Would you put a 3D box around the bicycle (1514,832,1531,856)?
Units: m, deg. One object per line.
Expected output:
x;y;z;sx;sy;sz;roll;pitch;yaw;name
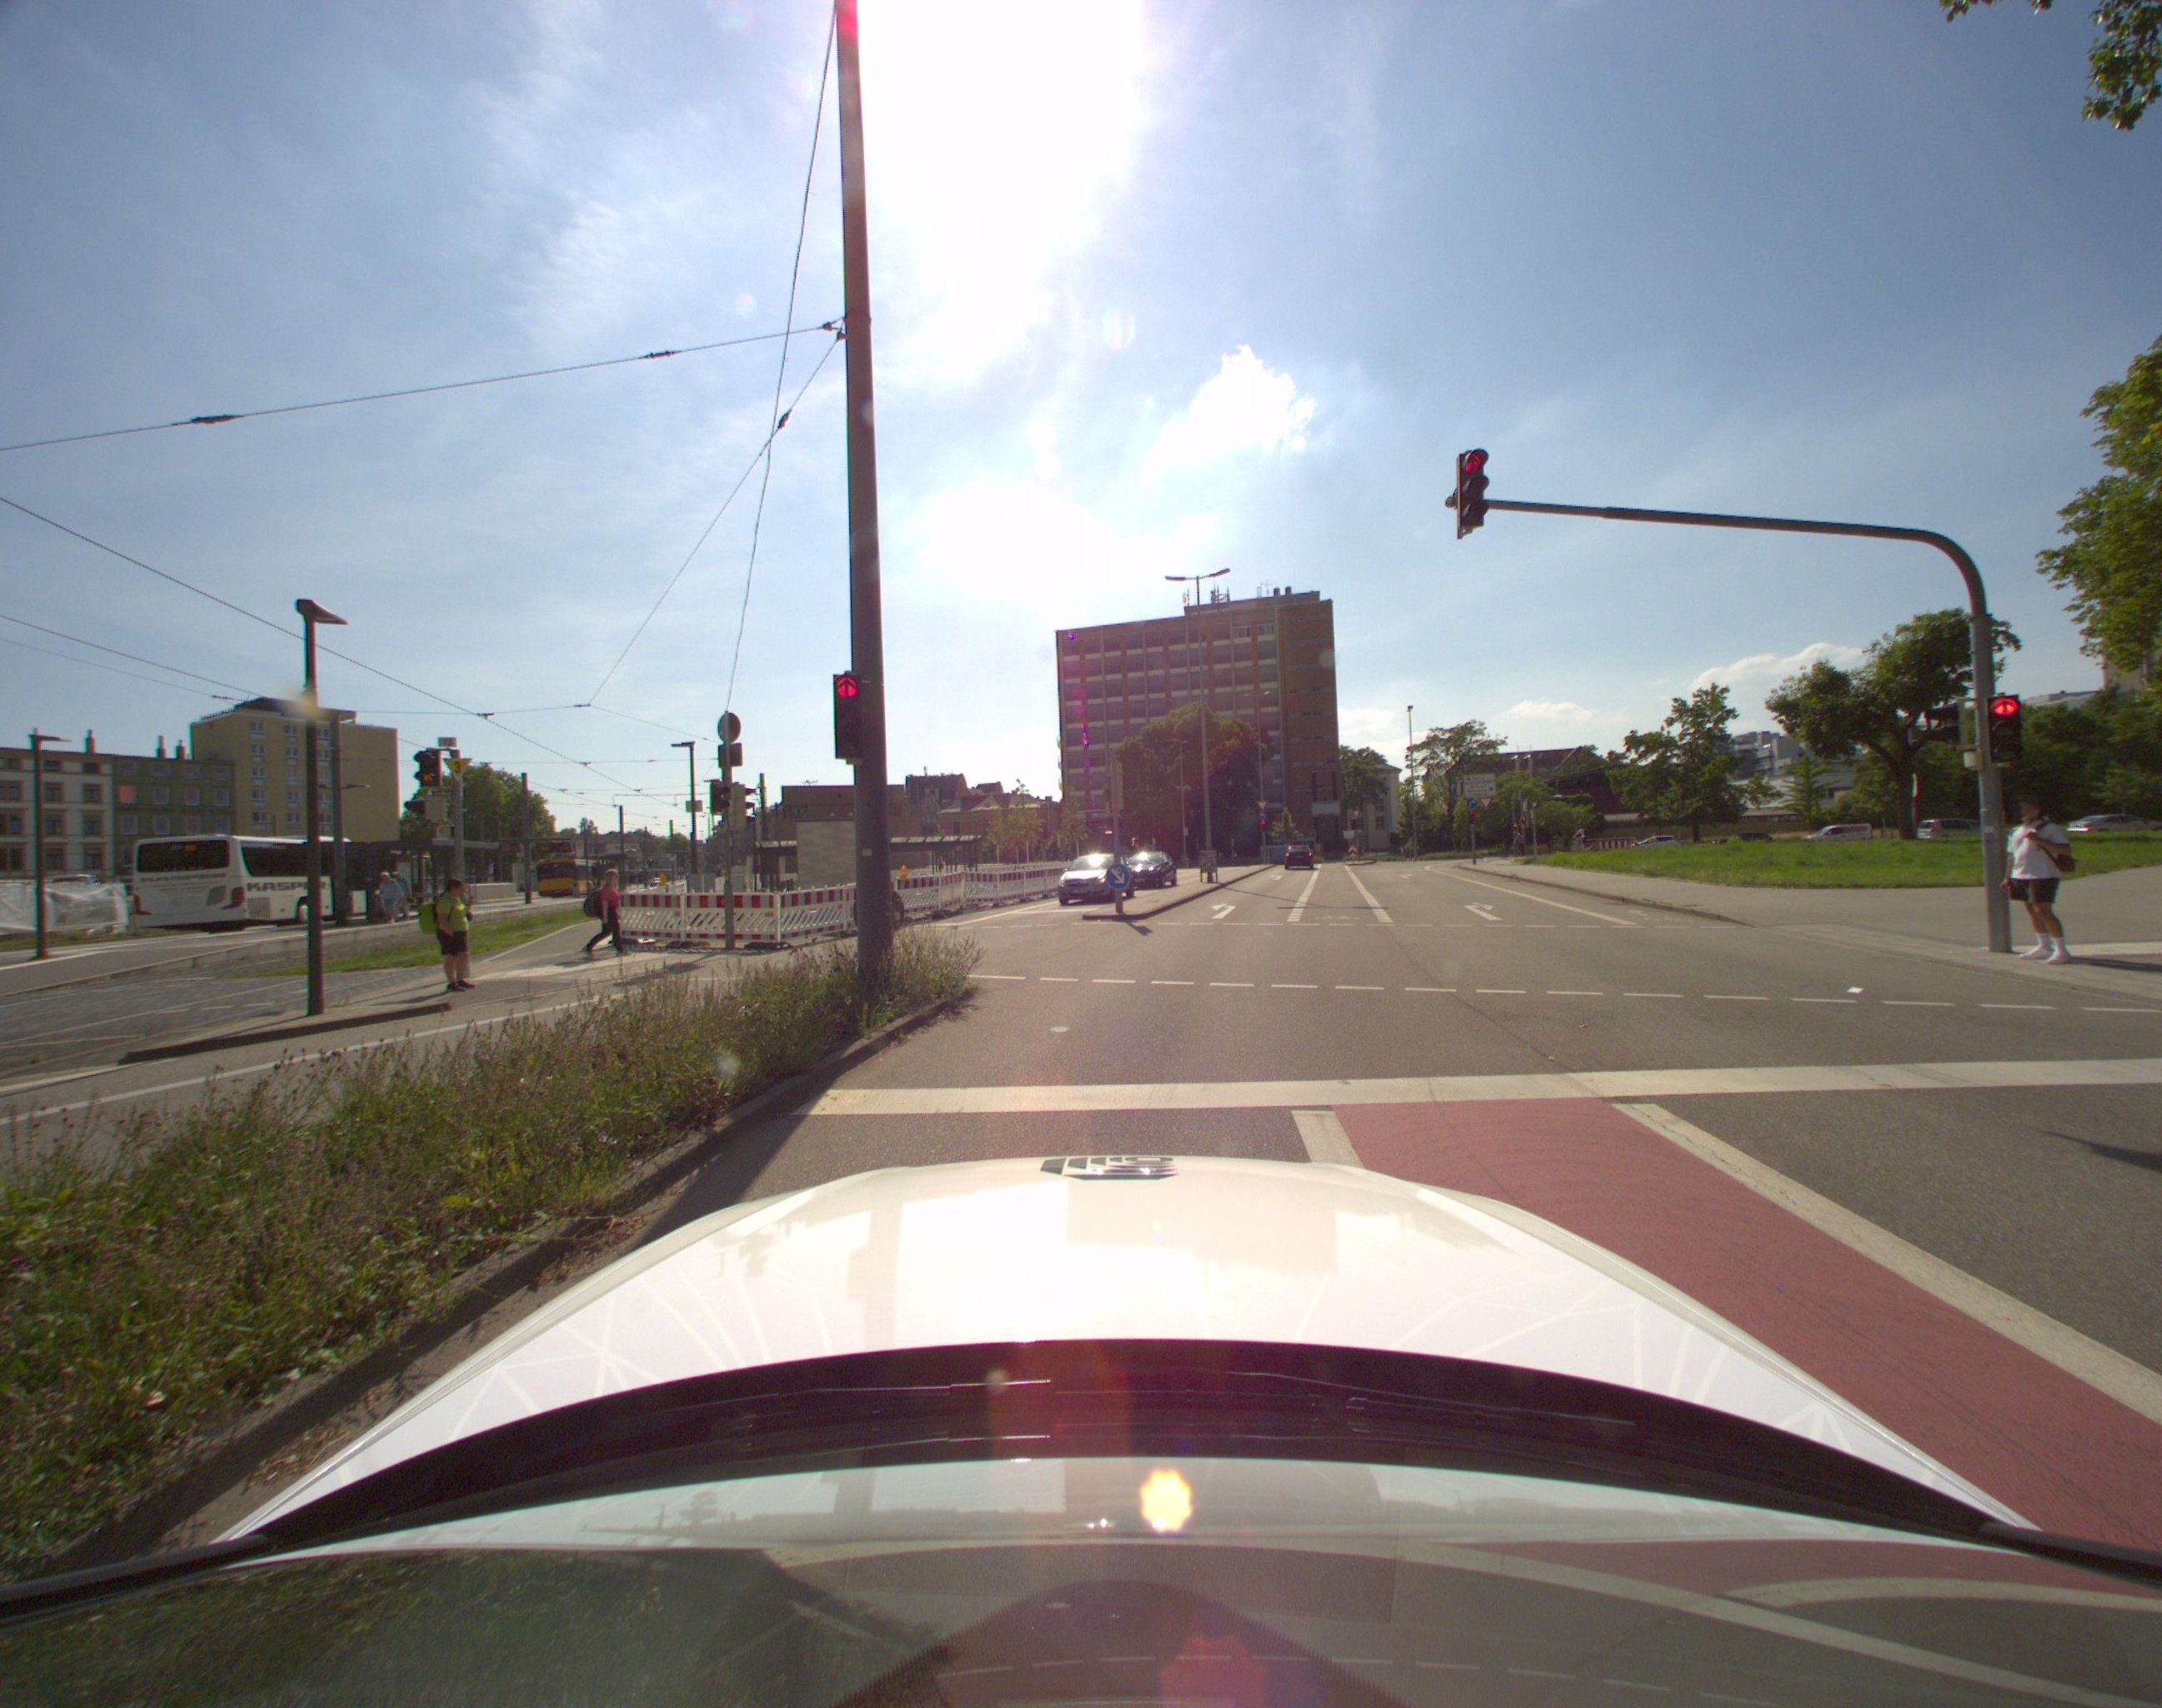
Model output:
33.483;-0.749;61.752;0.673;1.765;1.819;-3;0;17;bicycle

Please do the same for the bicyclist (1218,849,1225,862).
15.561;0.149;90.288;0.535;1.417;1.034;-4;-2;15;bicyclist

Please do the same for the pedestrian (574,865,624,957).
-8.724;1.018;14.761;0.687;1.616;0.348;-2;0;-25;pedestrian

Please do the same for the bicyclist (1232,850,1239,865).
16.639;0.336;87.849;0.614;1.582;1.017;-5;-1;12;bicyclist

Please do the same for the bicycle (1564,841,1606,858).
31.253;-0.278;50.564;0.676;0.916;2.150;-3;0;-25;bicycle

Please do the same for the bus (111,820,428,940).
-29.346;0.854;30.701;2.861;3.489;12.582;-3;0;-18;bus

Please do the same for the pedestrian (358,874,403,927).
-22.433;1.469;26.103;0.789;1.615;0.661;-2;0;-3;pedestrian

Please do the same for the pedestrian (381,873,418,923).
-22.898;1.475;27.363;0.686;1.615;0.585;-2;0;-6;pedestrian

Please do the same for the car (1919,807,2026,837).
53.753;-1.891;49.185;3.955;1.508;1.760;-3;0;17;car

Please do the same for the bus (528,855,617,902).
-40.521;1.879;65.416;2.861;3.281;12.582;-2;0;-18;bus

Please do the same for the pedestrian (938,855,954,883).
-8.993;1.005;54.230;0.733;1.752;1.111;-3;-3;1;pedestrian

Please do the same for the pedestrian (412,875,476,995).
-8.666;1.077;11.103;0.671;1.543;0.419;0;1;-36;pedestrian

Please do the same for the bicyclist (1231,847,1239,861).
16.610;-0.006;87.855;0.614;1.443;0.924;-5;-1;12;bicyclist

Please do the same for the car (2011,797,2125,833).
60.396;-2.360;49.921;3.951;2.014;2.011;-1;-1;24;car

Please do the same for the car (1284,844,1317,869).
13.576;0.141;50.300;1.766;1.443;3.835;-1;0;18;car

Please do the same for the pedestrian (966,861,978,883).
-7.469;1.246;55.850;0.628;1.491;0.617;-3;0;1;pedestrian

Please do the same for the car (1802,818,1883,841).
60.334;-1.940;64.622;4.276;1.569;1.919;-3;0;17;car

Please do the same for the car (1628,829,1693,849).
48.878;-1.245;68.753;3.956;1.464;2.009;-3;-1;17;car

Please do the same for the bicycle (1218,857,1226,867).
15.625;0.895;90.324;0.699;0.977;2.039;-3;0;15;bicycle

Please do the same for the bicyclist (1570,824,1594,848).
31.144;-1.088;50.642;0.497;1.470;1.133;0;-1;-25;bicyclist

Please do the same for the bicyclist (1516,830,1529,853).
33.464;-0.949;61.736;0.673;1.655;0.923;-3;0;17;bicyclist

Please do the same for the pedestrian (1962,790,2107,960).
11.202;0.233;9.598;0.650;1.874;0.796;-4;0;-1;pedestrian

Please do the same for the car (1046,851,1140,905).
0.474;0.690;25.499;1.779;1.412;4.018;-4;-1;18;car

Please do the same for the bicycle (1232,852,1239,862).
16.639;0.336;87.849;0.614;0.961;1.975;-5;-1;12;bicycle

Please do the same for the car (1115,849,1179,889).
2.712;0.573;32.818;1.653;1.451;3.836;-2;0;18;car
